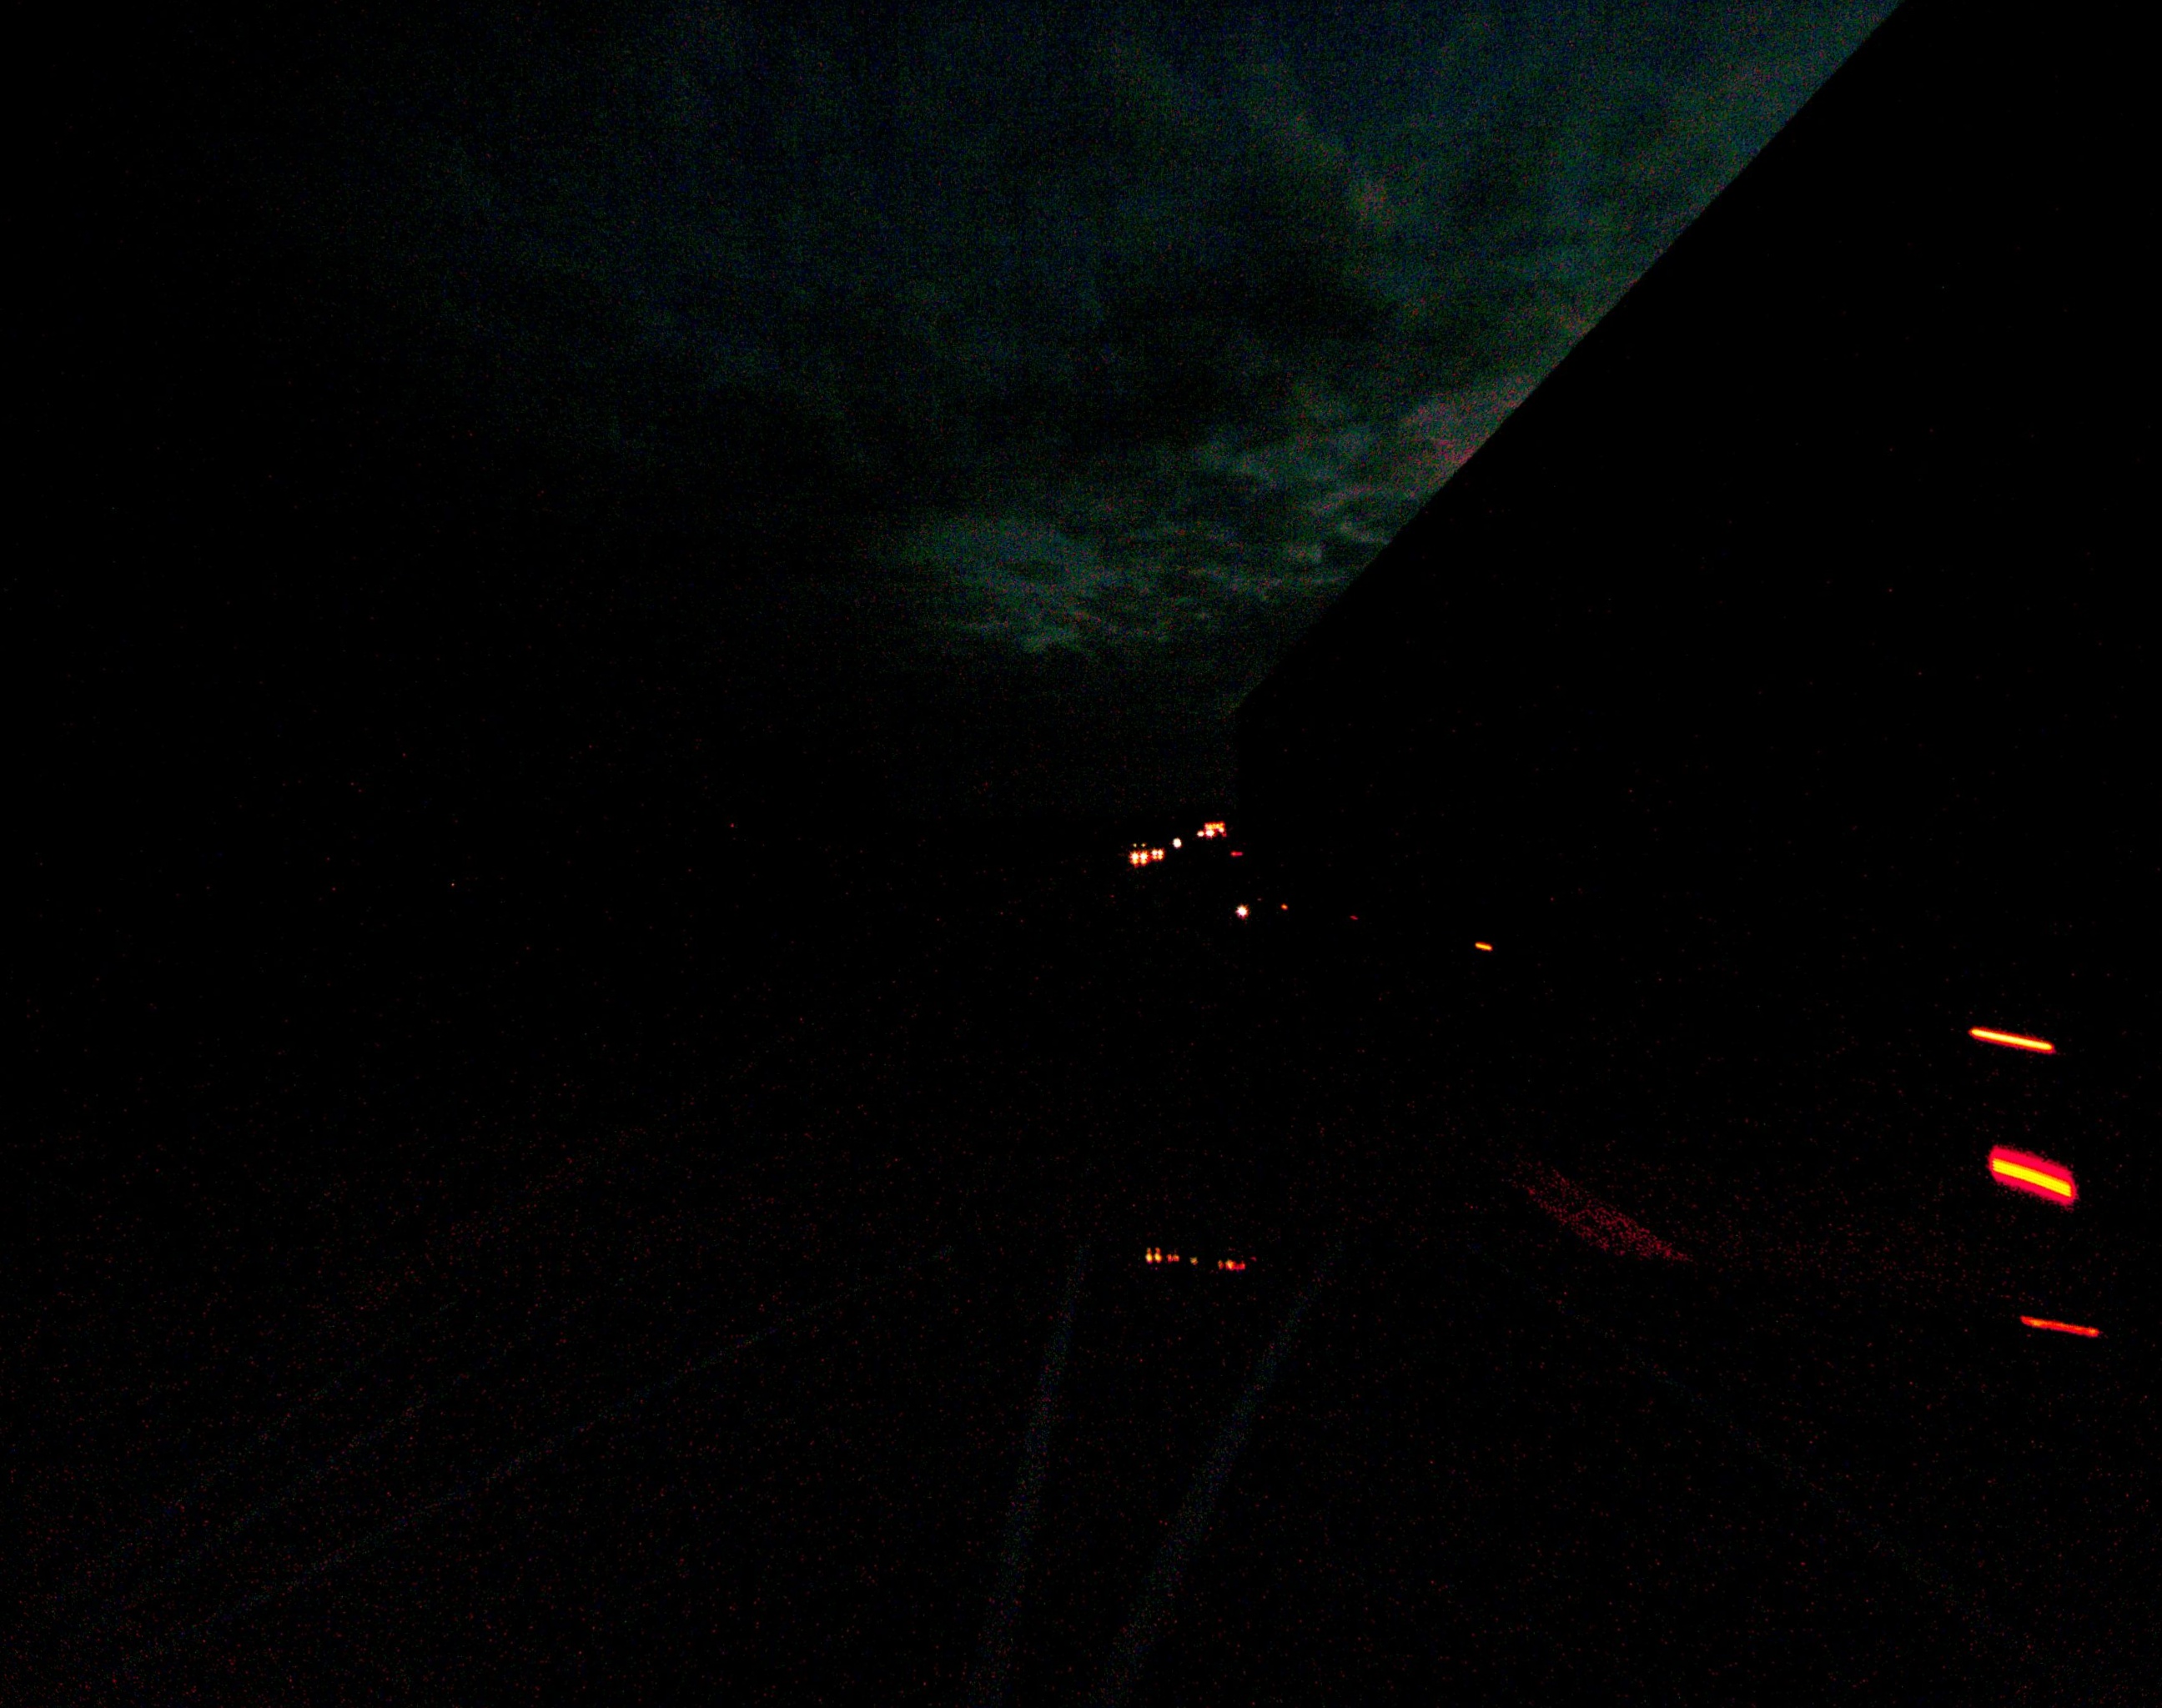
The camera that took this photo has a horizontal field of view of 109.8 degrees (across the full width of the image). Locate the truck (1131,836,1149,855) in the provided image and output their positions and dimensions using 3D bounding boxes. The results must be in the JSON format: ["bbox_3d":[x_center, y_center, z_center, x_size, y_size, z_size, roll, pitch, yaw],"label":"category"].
[{"bbox_3d":[13.564,-1.975,176.092,3.353,4.293,11.324,-1,1,1],"label":"truck"}]

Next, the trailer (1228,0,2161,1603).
[{"bbox_3d":[3.793,-0.340,5.370,2.781,3.892,14.819,-2,0,1],"label":"trailer"}]

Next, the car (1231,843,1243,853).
[{"bbox_3d":[32.161,-1.236,156.678,1.998,2.002,4.001,-1,1,4],"label":"car"}]

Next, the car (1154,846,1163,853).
[{"bbox_3d":[21.665,-1.339,211.937,1.998,2.002,3.999,-1,1,0],"label":"car"}]
